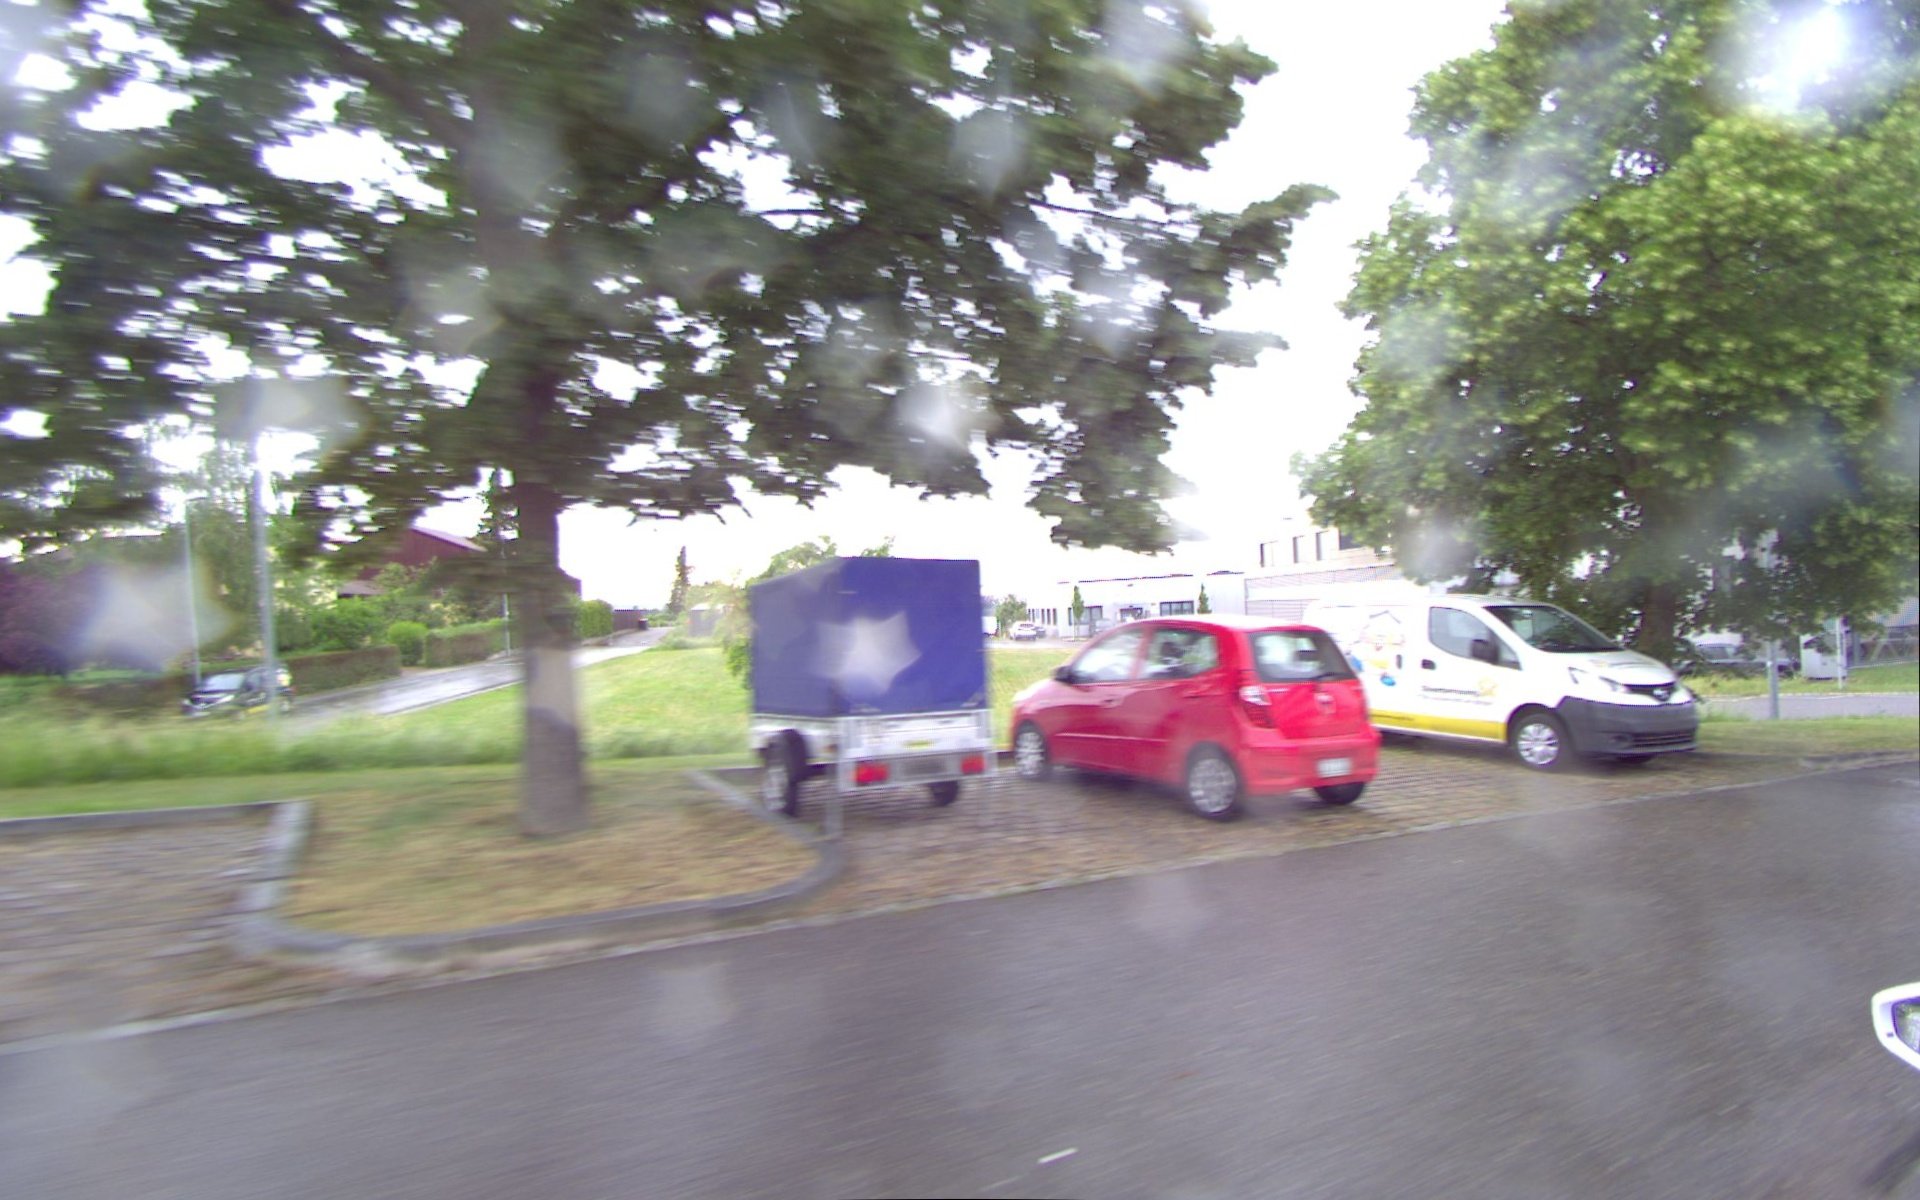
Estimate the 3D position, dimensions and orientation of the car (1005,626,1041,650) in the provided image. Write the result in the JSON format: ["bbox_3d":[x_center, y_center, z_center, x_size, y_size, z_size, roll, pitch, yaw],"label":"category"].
[{"bbox_3d":[5.174,3.105,83.430,2.237,1.879,4.715,-1,-1,-5],"label":"car"}]

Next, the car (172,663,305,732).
[{"bbox_3d":[-25.762,3.438,36.076,1.894,2.249,4.500,-1,-4,-7],"label":"car"}]

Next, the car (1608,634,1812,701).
[{"bbox_3d":[25.902,2.288,34.819,5.502,1.947,2.135,-3,-1,-3],"label":"car"}]

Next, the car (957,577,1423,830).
[{"bbox_3d":[1.794,0.824,9.189,1.736,1.744,4.174,2,-3,-32],"label":"car"}]

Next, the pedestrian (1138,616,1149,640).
[{"bbox_3d":[15.525,2.381,85.102,0.847,2.031,0.660,0,-2,1],"label":"pedestrian"}]

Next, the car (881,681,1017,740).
[{"bbox_3d":[-0.328,3.025,27.741,3.634,1.465,1.563,0,-2,-3],"label":"car"}]

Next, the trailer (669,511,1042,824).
[{"bbox_3d":[-1.166,0.541,8.731,1.752,2.010,4.195,1,-3,-29],"label":"trailer"}]

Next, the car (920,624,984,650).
[{"bbox_3d":[-0.580,2.659,72.277,4.529,1.669,2.291,-1,-4,-2],"label":"car"}]

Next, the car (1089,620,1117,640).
[{"bbox_3d":[11.907,2.535,83.816,1.776,1.639,4.001,0,-2,0],"label":"car"}]

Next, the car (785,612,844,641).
[{"bbox_3d":[-13.518,2.461,93.615,5.330,2.603,1.998,0,-3,-7],"label":"car"}]

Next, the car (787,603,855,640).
[{"bbox_3d":[-13.290,2.064,96.307,6.177,3.474,2.000,0,-3,-1],"label":"car"}]

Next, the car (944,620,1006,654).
[{"bbox_3d":[1.633,4.003,109.150,6.598,3.469,2.545,-1,-4,-2],"label":"car"}]

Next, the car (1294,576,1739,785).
[{"bbox_3d":[6.094,0.858,11.661,1.836,1.930,4.291,1,-3,-23],"label":"car"}]

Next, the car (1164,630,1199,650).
[{"bbox_3d":[18.385,3.325,83.524,1.961,1.639,4.001,0,-2,0],"label":"car"}]

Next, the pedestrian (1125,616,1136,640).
[{"bbox_3d":[14.507,2.391,85.273,0.834,2.040,0.647,0,-2,3],"label":"pedestrian"}]
